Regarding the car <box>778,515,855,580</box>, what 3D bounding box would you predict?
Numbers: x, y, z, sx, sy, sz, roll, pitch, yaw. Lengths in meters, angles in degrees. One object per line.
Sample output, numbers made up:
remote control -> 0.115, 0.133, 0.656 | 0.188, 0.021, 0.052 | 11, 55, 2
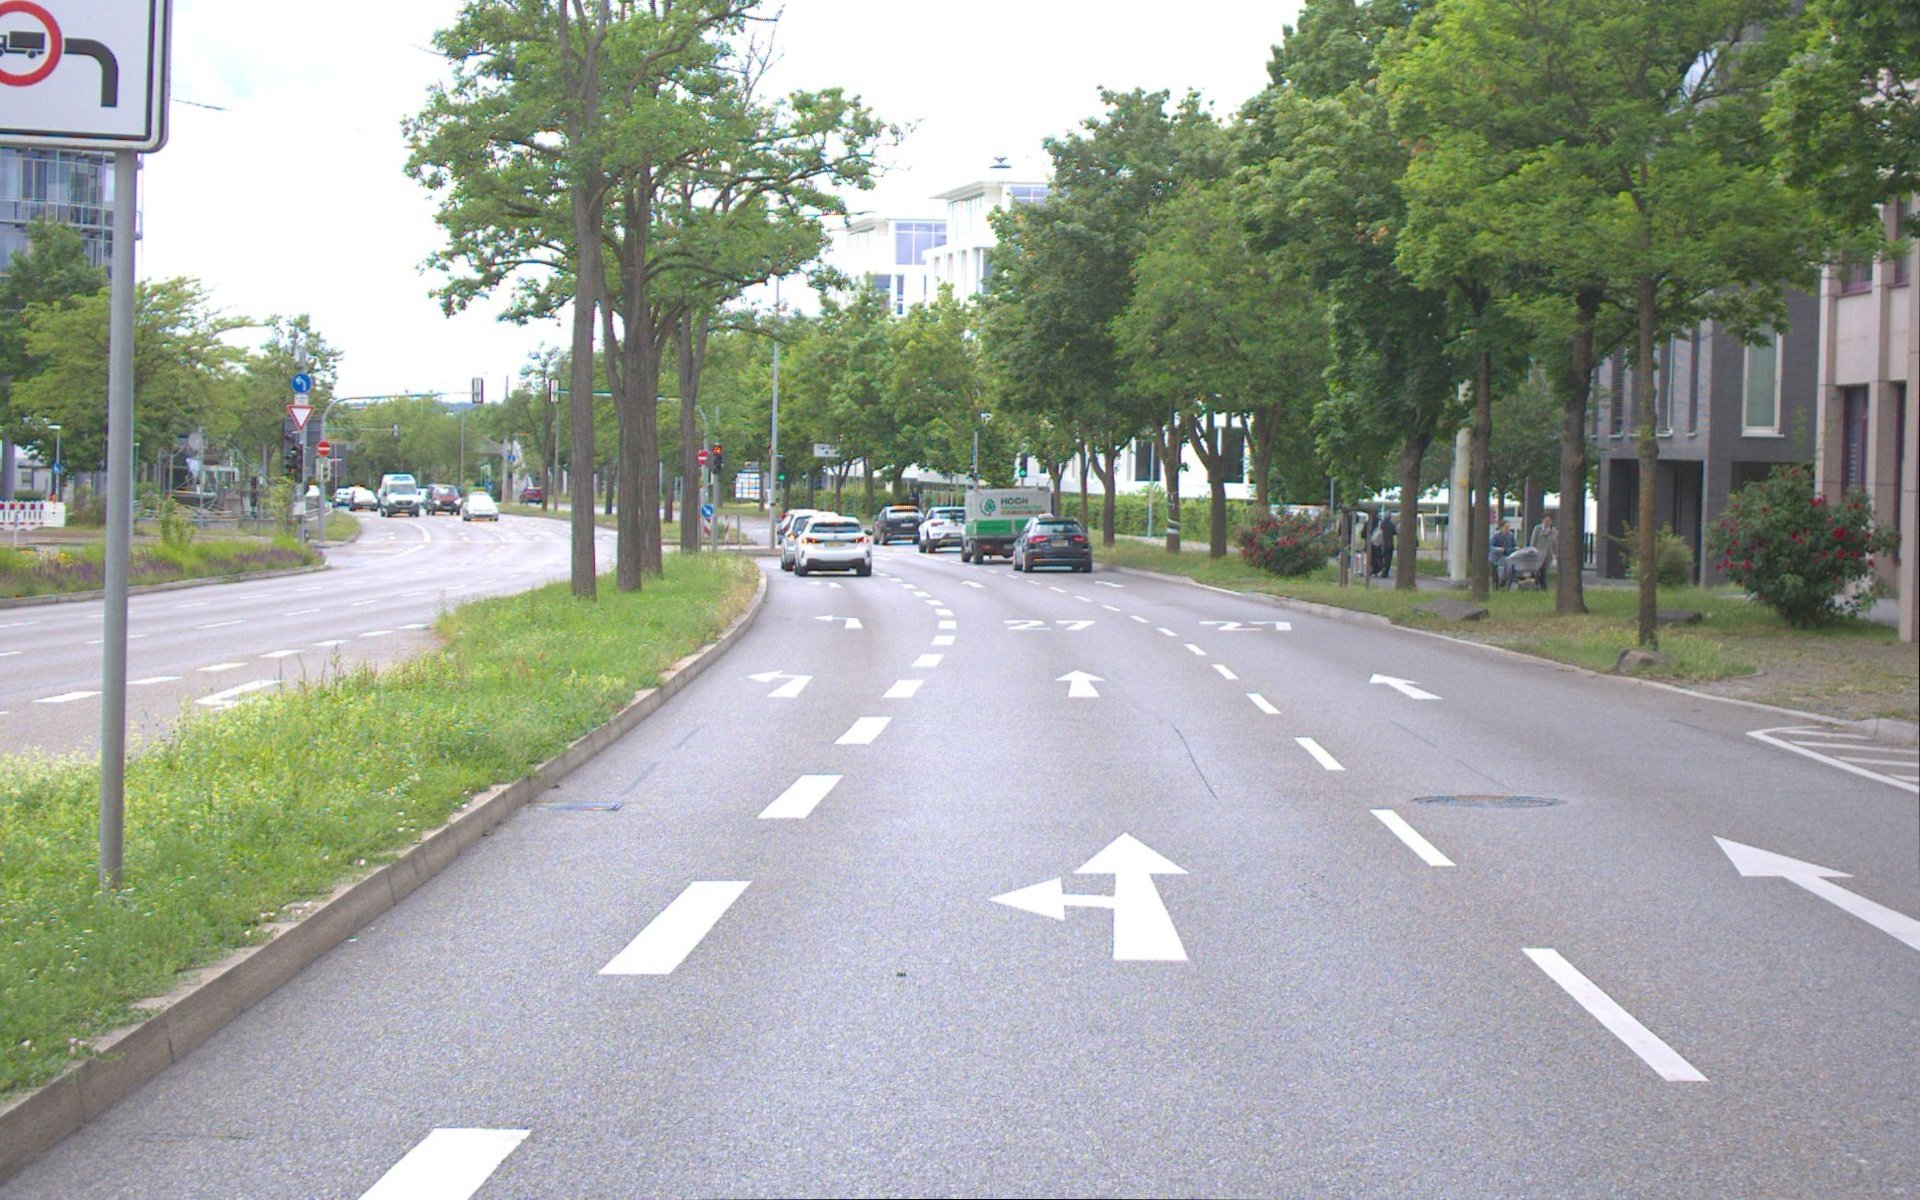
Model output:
car -> -3.844, -1.399, 91.943 | 1.993, 1.666, 4.001 | 1, 1, -3

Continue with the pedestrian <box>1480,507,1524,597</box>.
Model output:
pedestrian -> 9.961, -0.889, 63.203 | 0.555, 1.647, 0.962 | -1, 1, -7

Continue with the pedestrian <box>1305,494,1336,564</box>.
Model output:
pedestrian -> 9.317, -1.847, 88.856 | 0.608, 1.769, 0.954 | 1, 3, -3

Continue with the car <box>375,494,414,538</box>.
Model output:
car -> -35.185, -5.235, 214.070 | 1.993, 2.625, 5.877 | 2, 1, -6

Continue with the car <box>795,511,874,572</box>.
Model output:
car -> -3.085, -1.448, 84.901 | 1.863, 1.444, 4.000 | 1, 1, -1

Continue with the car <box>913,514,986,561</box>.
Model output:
car -> -0.376, -2.081, 113.365 | 1.993, 1.503, 4.001 | 0, 1, -6

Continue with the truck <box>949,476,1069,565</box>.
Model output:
truck -> 1.381, -2.318, 101.535 | 2.859, 2.511, 6.289 | 1, 1, -5

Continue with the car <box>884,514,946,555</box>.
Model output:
car -> -1.762, -2.537, 132.132 | 1.993, 1.485, 4.001 | 1, 1, -6

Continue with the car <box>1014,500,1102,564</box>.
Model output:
car -> 2.498, -1.761, 88.564 | 1.993, 1.590, 4.001 | 1, 1, -2

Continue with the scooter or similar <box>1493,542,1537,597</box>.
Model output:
scooter or similar -> 10.059, -0.555, 62.308 | 0.583, 0.990, 0.847 | -1, 1, -7

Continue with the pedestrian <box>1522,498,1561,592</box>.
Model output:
pedestrian -> 10.673, -1.008, 63.138 | 0.567, 1.694, 0.829 | 1, 1, 1

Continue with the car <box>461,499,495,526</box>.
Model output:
car -> -27.325, -4.958, 194.911 | 1.752, 1.439, 4.136 | 2, 1, -6

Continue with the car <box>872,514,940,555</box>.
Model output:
car -> -2.083, -2.529, 132.109 | 1.993, 1.503, 4.001 | 1, 1, -10

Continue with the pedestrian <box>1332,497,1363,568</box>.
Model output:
pedestrian -> 10.019, -1.750, 88.957 | 0.608, 1.769, 0.954 | 1, 3, -3

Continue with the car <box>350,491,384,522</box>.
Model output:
car -> -40.818, -6.453, 236.835 | 1.993, 2.004, 4.325 | 2, 1, -6

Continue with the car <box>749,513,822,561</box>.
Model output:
car -> -5.619, -2.049, 111.023 | 1.993, 1.503, 4.000 | 1, 1, 2
